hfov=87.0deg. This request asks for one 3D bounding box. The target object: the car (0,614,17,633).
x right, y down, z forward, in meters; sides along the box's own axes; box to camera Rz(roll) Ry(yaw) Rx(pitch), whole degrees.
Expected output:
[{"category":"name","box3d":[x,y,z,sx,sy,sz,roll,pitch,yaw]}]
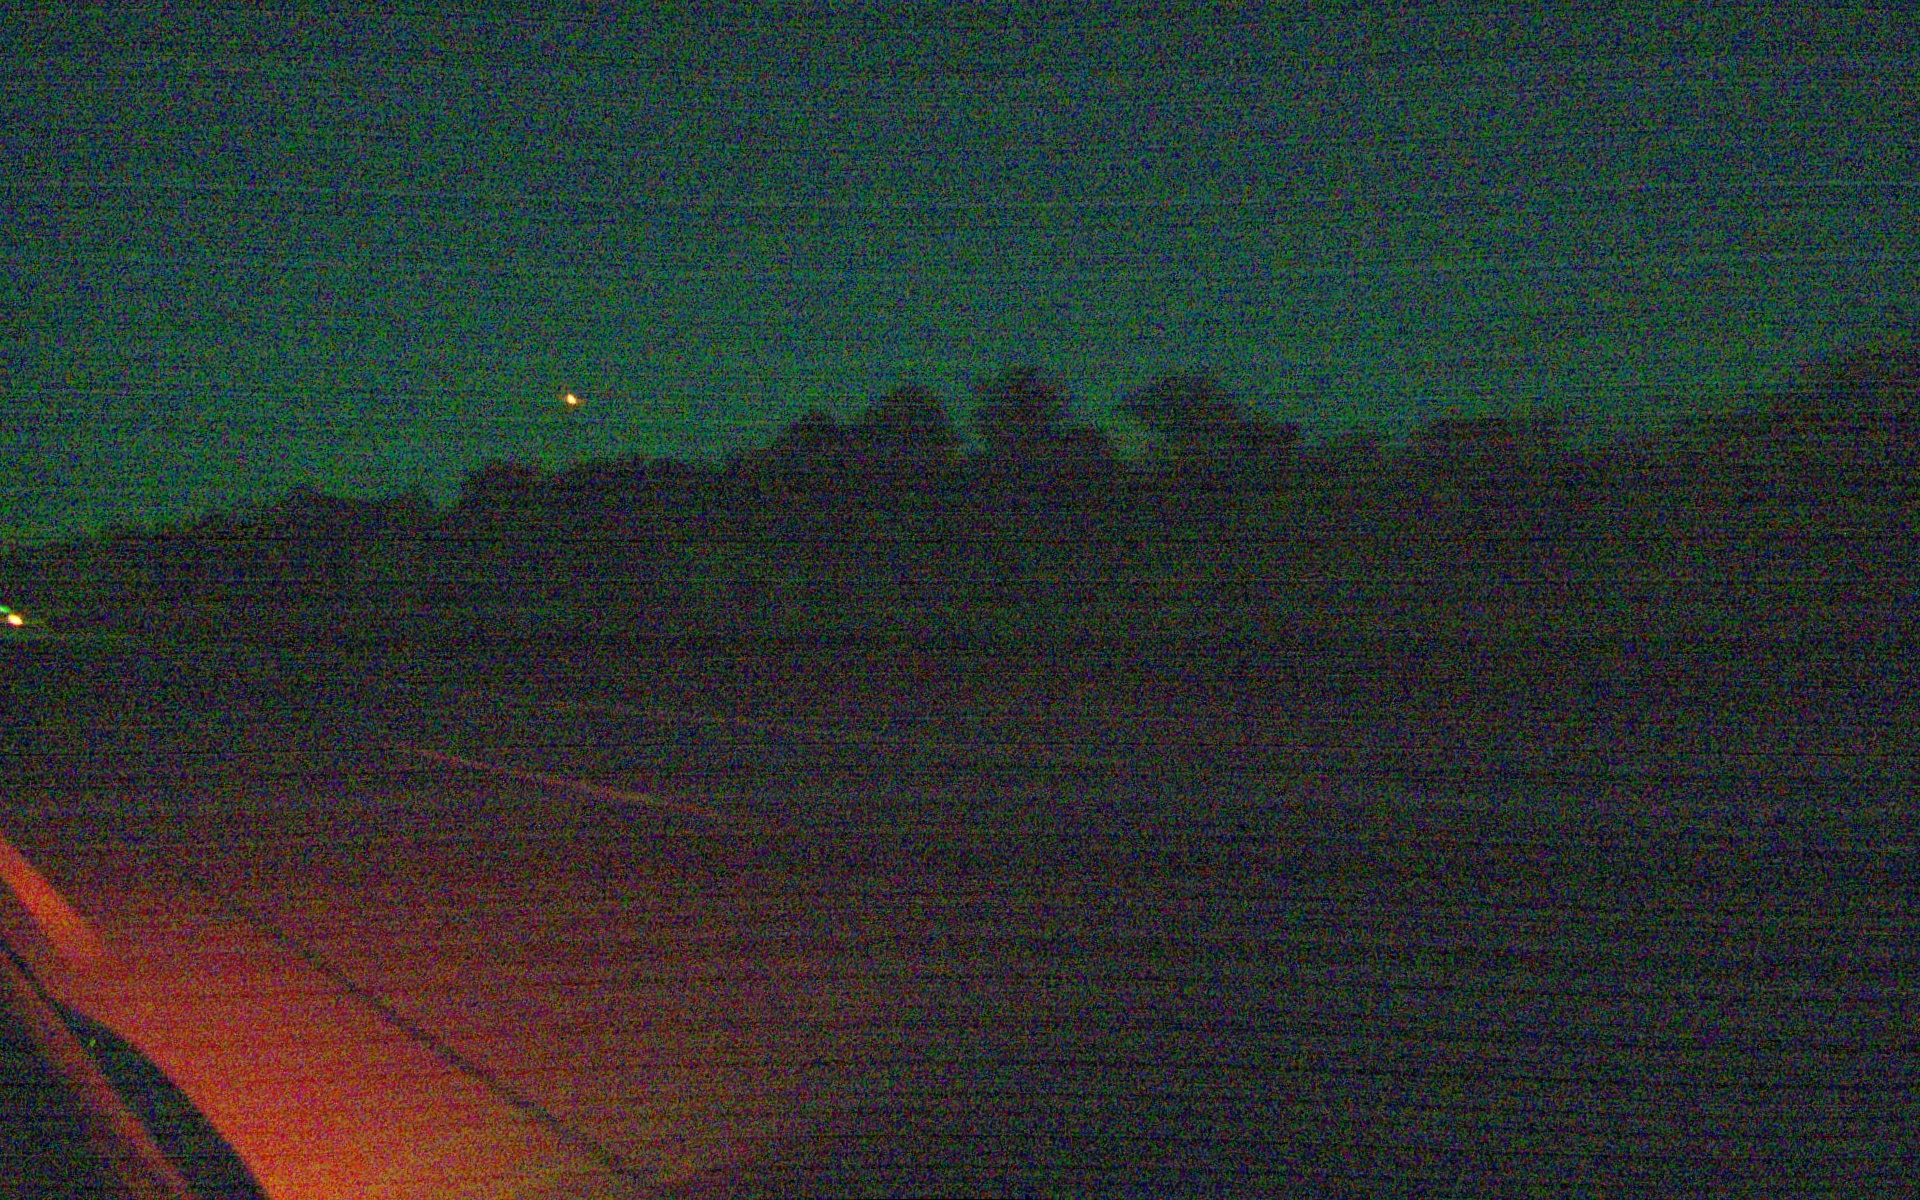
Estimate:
[{"category":"car","box3d":[-132.823,3.254,140.149,6.665,2.470,2.367,0,0,40]}]
